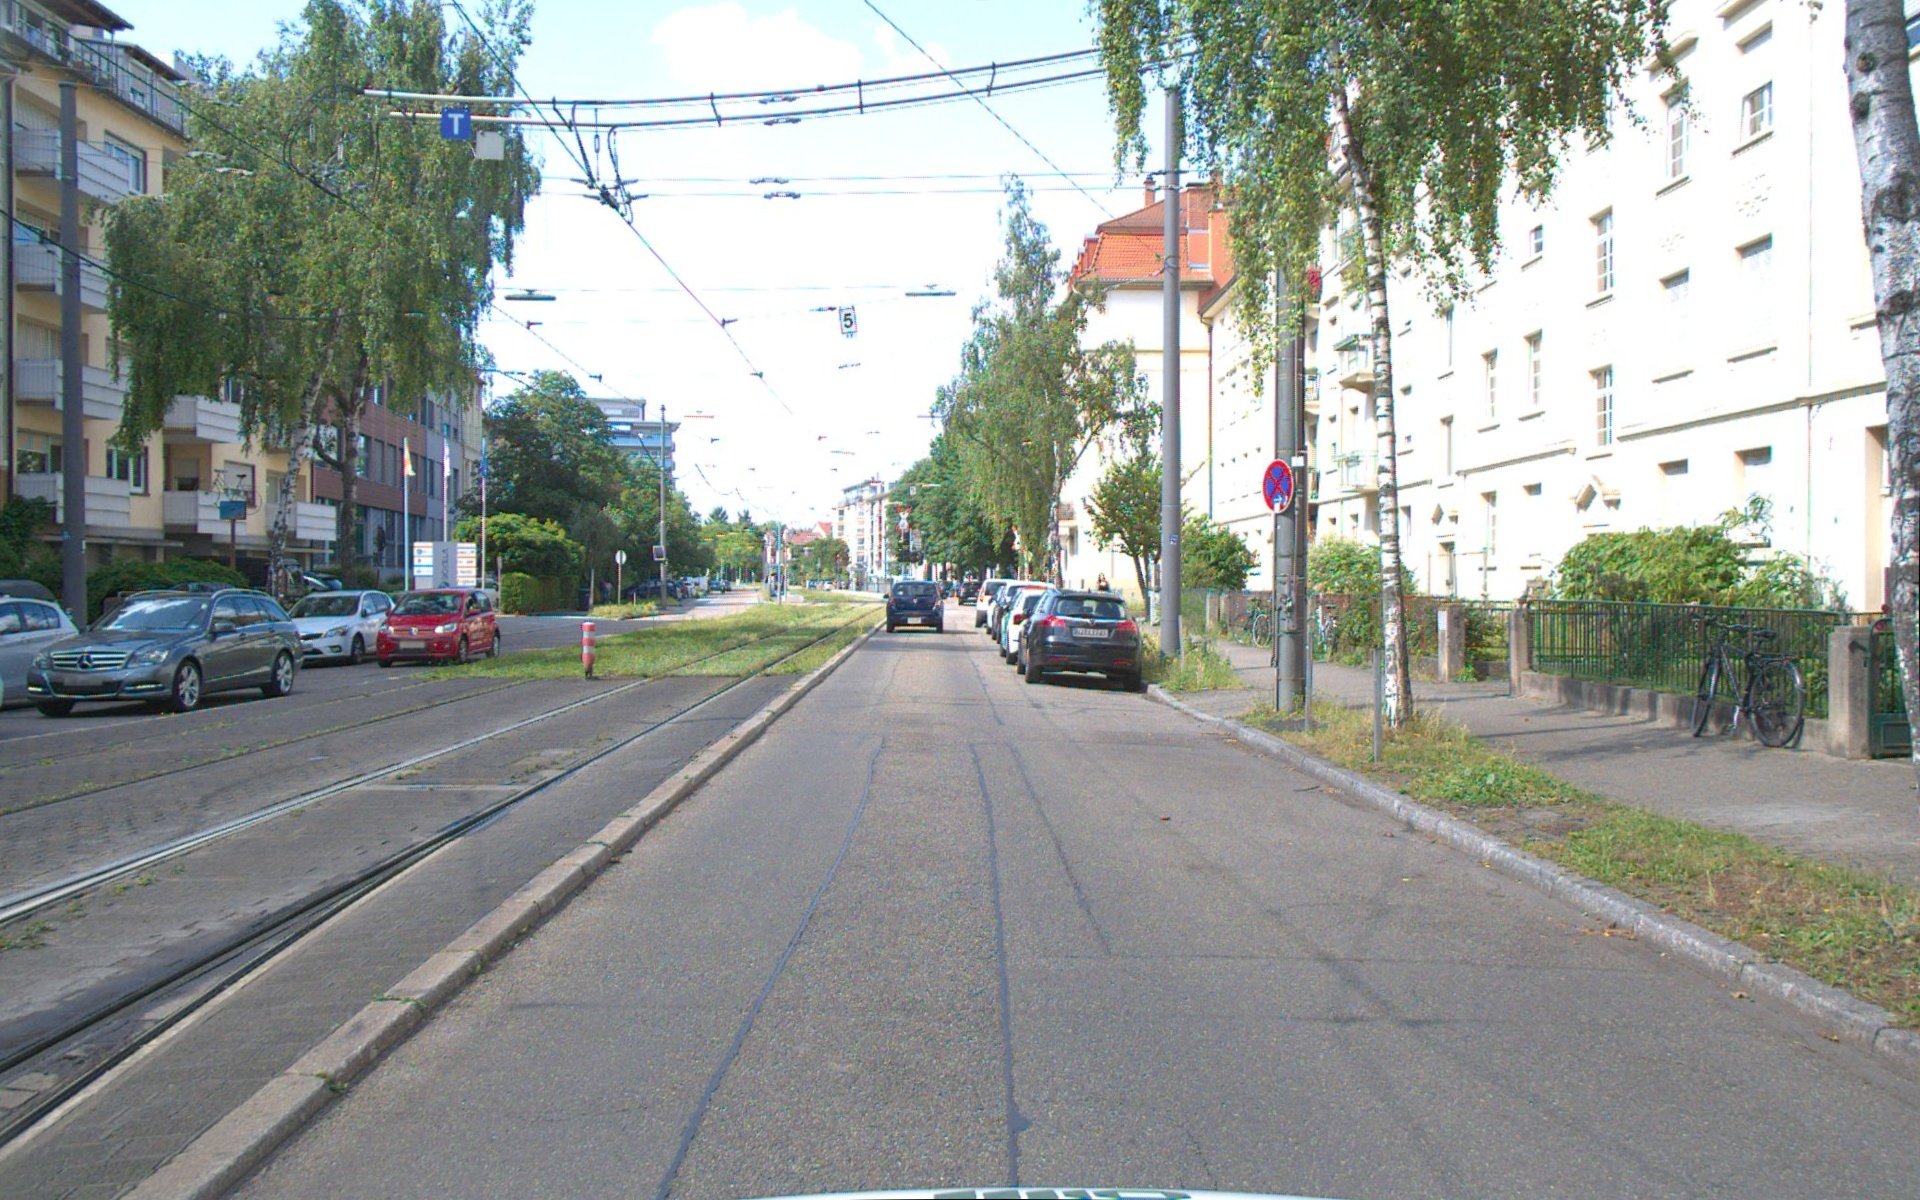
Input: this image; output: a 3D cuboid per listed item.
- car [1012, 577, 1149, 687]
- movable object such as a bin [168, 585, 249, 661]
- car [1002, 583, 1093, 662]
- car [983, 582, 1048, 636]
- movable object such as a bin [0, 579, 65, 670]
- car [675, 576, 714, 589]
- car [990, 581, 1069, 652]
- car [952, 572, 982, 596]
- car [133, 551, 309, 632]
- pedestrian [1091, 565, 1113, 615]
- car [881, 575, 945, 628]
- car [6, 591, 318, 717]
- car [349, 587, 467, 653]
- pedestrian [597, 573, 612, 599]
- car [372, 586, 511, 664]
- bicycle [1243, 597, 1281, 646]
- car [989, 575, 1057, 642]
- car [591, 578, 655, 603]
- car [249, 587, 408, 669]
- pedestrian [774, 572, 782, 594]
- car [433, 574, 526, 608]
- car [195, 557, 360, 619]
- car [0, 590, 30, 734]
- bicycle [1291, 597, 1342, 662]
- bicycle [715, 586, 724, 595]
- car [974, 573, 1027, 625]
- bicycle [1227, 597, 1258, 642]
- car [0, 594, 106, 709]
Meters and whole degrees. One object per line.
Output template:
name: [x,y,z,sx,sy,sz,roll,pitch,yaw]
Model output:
car: [1.868,0.444,26.954,1.755,1.547,4.525,3,1,-1]
movable object such as a bin: [-15.175,0.443,33.446,0.931,1.454,1.521,2,1,-1]
car: [1.717,0.410,33.454,1.586,1.478,3.918,0,1,-1]
car: [1.593,0.236,48.820,1.639,1.441,3.794,3,1,-1]
movable object such as a bin: [-15.490,0.379,26.974,0.931,1.391,1.521,2,1,-1]
car: [-29.468,-1.925,183.427,3.965,1.472,1.702,-1,1,-41]
car: [1.570,0.337,38.557,1.557,1.477,3.844,3,1,-1]
car: [0.416,-0.977,101.375,1.666,1.391,3.513,2,1,-3]
car: [-20.230,-0.254,45.367,3.904,2.048,1.938,2,1,3]
pedestrian: [4.973,-0.351,57.957,0.714,1.712,0.691,-2,1,3]
car: [-1.371,0.024,49.117,1.731,1.487,3.776,1,1,0]
car: [-10.036,0.604,21.234,1.719,1.380,4.513,-2,0,1]
car: [-13.064,0.441,39.351,1.561,1.457,3.614,-1,1,0]
pedestrian: [-22.634,-0.884,105.434,0.730,1.601,0.889,0,-1,2]
car: [-10.145,0.449,32.599,1.546,1.411,3.693,-1,1,0]
bicycle: [6.279,0.428,34.458,0.370,0.960,2.009,0,1,-1]
car: [1.611,0.188,43.223,1.463,1.606,3.758,2,1,-2]
car: [-22.965,-0.645,112.741,1.696,1.669,4.105,0,1,44]
car: [-12.798,0.524,33.782,1.611,1.503,4.225,-1,1,0]
pedestrian: [-15.400,-1.449,140.147,0.591,1.796,0.639,0,0,2]
car: [-22.981,-0.429,79.175,3.908,1.624,1.999,0,1,-4]
car: [-19.675,-0.356,47.798,3.906,1.630,1.973,2,1,-1]
car: [-10.589,0.669,15.028,1.718,1.439,4.136,-2,0,4]
bicycle: [6.369,0.503,29.654,0.462,1.096,2.183,0,1,1]
bicycle: [-26.180,-1.017,180.023,0.667,0.988,2.177,-1,1,-3]
car: [1.389,-0.058,56.513,1.685,1.658,4.001,2,1,2]
bicycle: [6.206,0.414,36.409,0.379,0.955,1.585,0,1,-1]
car: [-12.617,0.649,20.702,1.719,1.380,3.995,-1,1,1]
